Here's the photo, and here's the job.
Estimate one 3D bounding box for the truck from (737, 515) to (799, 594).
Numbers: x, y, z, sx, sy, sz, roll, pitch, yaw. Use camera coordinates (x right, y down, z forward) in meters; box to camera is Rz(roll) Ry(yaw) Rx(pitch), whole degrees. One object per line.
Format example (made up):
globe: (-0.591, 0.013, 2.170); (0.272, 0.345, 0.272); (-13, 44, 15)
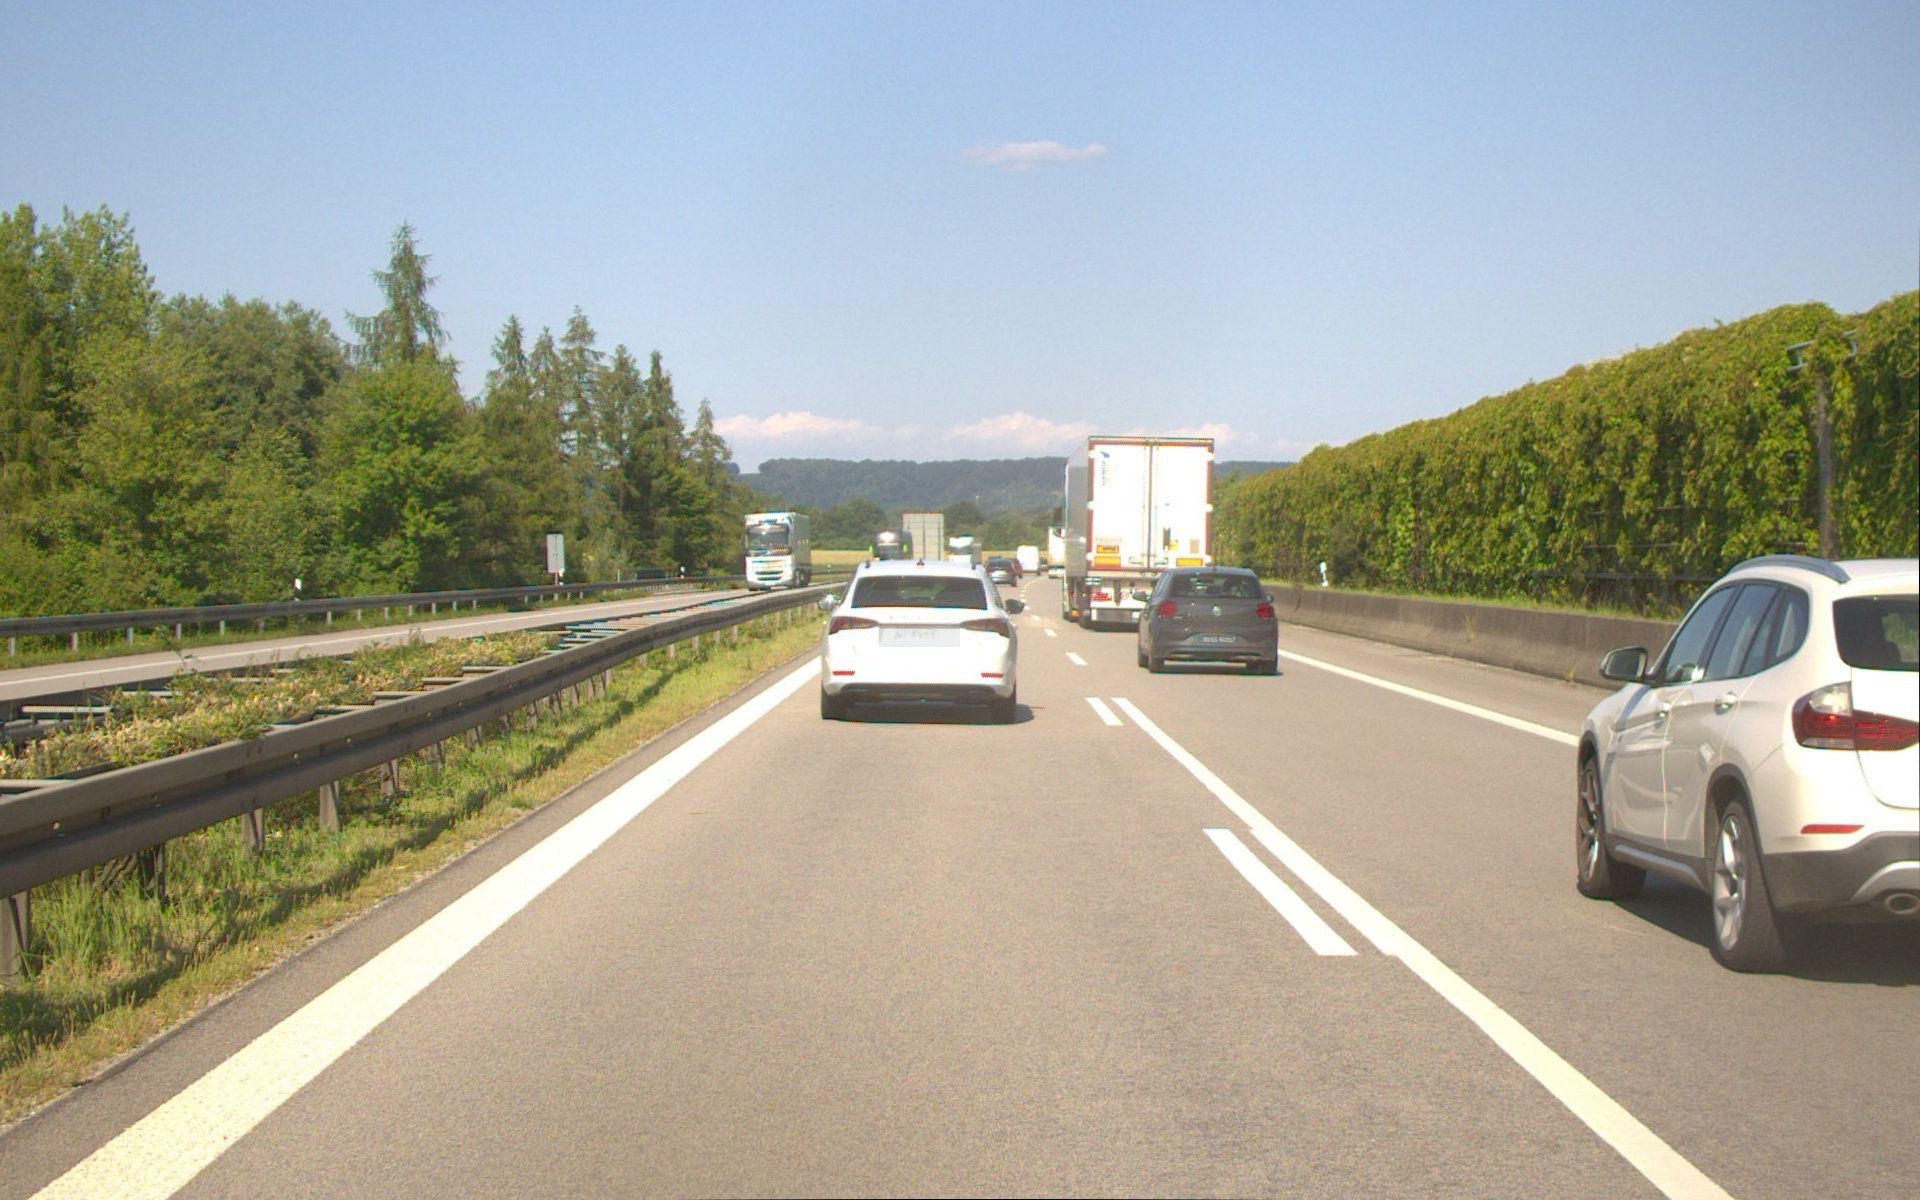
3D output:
truck: (-9.943, -2.372, 178.695); (2.644, 3.994, 7.193); (-1, 1, 1)

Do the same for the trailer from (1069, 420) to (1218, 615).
trailer: (3.982, -1.808, 77.493); (2.818, 3.953, 14.160); (-1, 1, 1)

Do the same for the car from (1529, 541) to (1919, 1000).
car: (3.602, 0.545, 14.120); (1.684, 1.491, 4.987); (1, 2, 0)

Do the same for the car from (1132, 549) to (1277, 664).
car: (3.297, 0.053, 46.978); (1.665, 1.449, 4.544); (1, 1, 1)

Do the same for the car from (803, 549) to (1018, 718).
car: (-0.412, 0.252, 32.578); (1.840, 1.416, 5.254); (1, 1, 0)

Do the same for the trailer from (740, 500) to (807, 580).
trailer: (-9.809, -3.178, 182.132); (2.661, 3.994, 14.088); (-1, 1, 0)

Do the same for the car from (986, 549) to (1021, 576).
car: (2.321, -2.012, 186.003); (1.771, 1.416, 4.495); (1, 1, -1)

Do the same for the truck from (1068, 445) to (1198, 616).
truck: (4.161, -1.688, 84.166); (2.840, 3.953, 7.044); (-1, 1, 1)
